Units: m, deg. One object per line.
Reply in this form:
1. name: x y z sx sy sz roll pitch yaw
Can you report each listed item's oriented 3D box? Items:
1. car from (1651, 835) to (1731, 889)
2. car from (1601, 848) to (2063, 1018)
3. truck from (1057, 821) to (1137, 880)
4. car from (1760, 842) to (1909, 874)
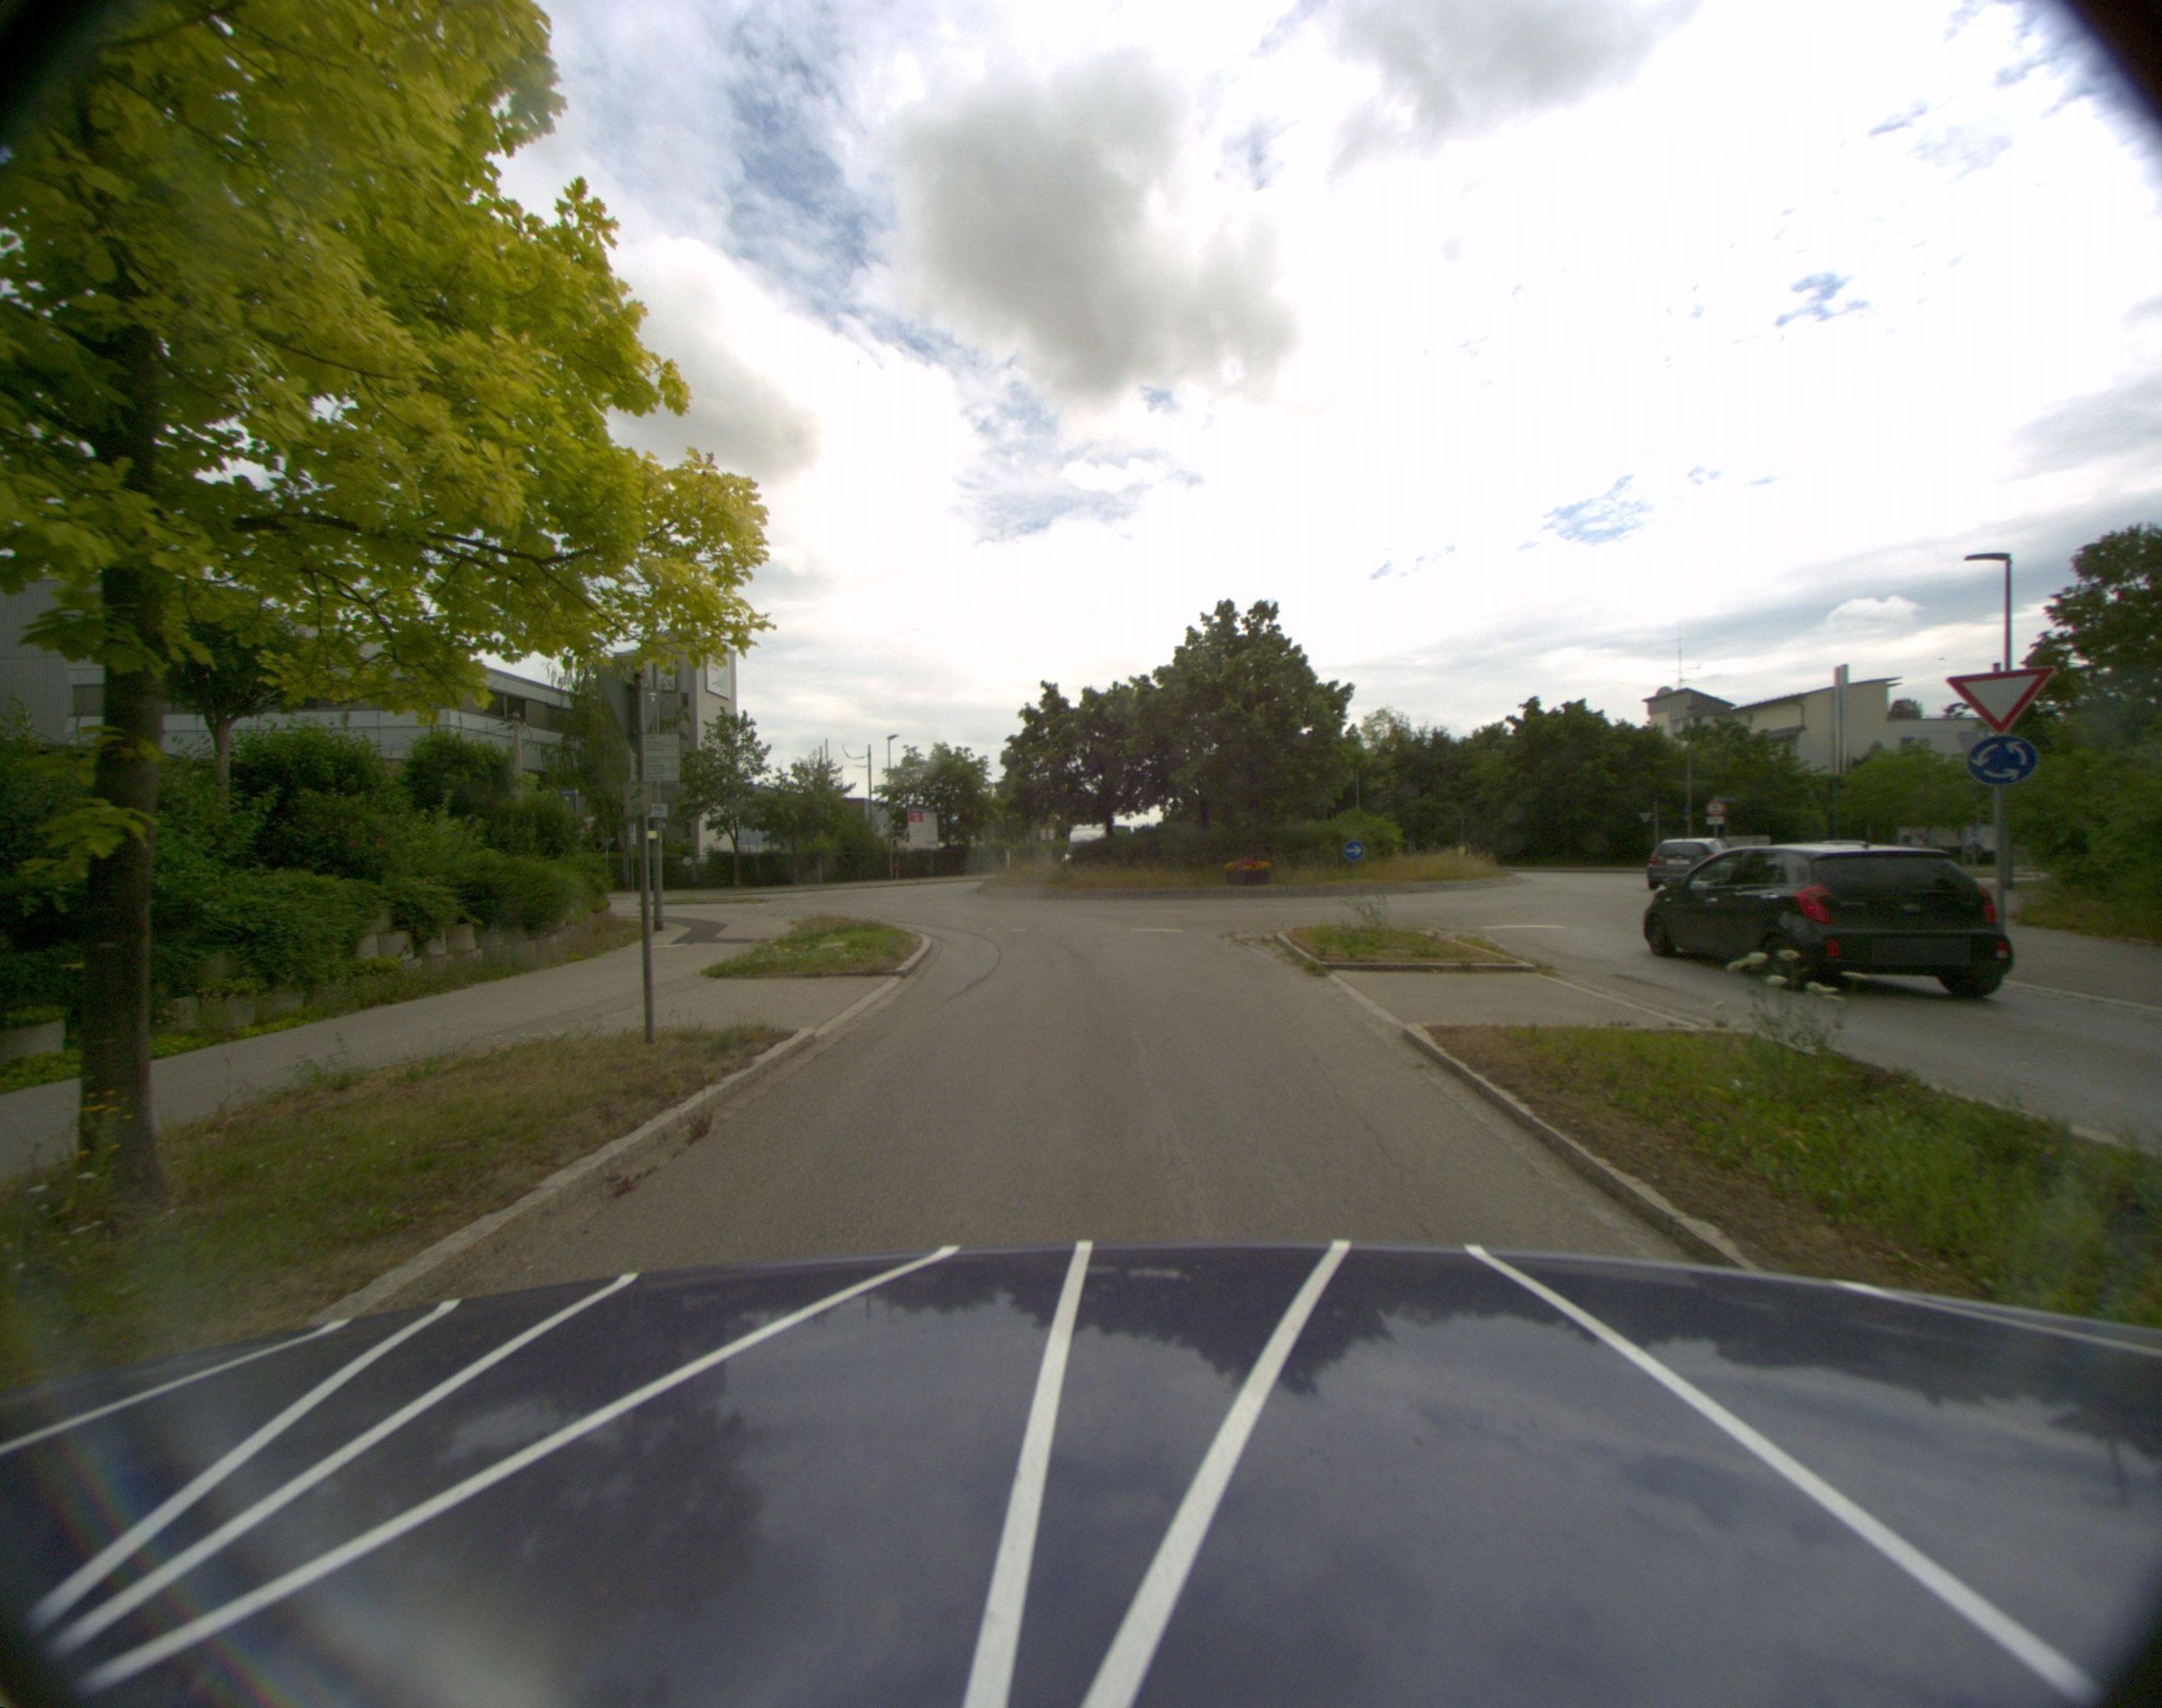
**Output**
1. car: 17.868 0.195 22.288 1.682 1.415 4.008 0 1 39
2. car: 7.856 0.666 8.598 1.685 1.446 4.003 0 0 9
3. truck: 1.190 -0.269 48.422 2.610 3.428 7.516 -2 1 20
4. car: 33.418 0.180 33.795 4.823 1.283 1.558 -2 1 5
